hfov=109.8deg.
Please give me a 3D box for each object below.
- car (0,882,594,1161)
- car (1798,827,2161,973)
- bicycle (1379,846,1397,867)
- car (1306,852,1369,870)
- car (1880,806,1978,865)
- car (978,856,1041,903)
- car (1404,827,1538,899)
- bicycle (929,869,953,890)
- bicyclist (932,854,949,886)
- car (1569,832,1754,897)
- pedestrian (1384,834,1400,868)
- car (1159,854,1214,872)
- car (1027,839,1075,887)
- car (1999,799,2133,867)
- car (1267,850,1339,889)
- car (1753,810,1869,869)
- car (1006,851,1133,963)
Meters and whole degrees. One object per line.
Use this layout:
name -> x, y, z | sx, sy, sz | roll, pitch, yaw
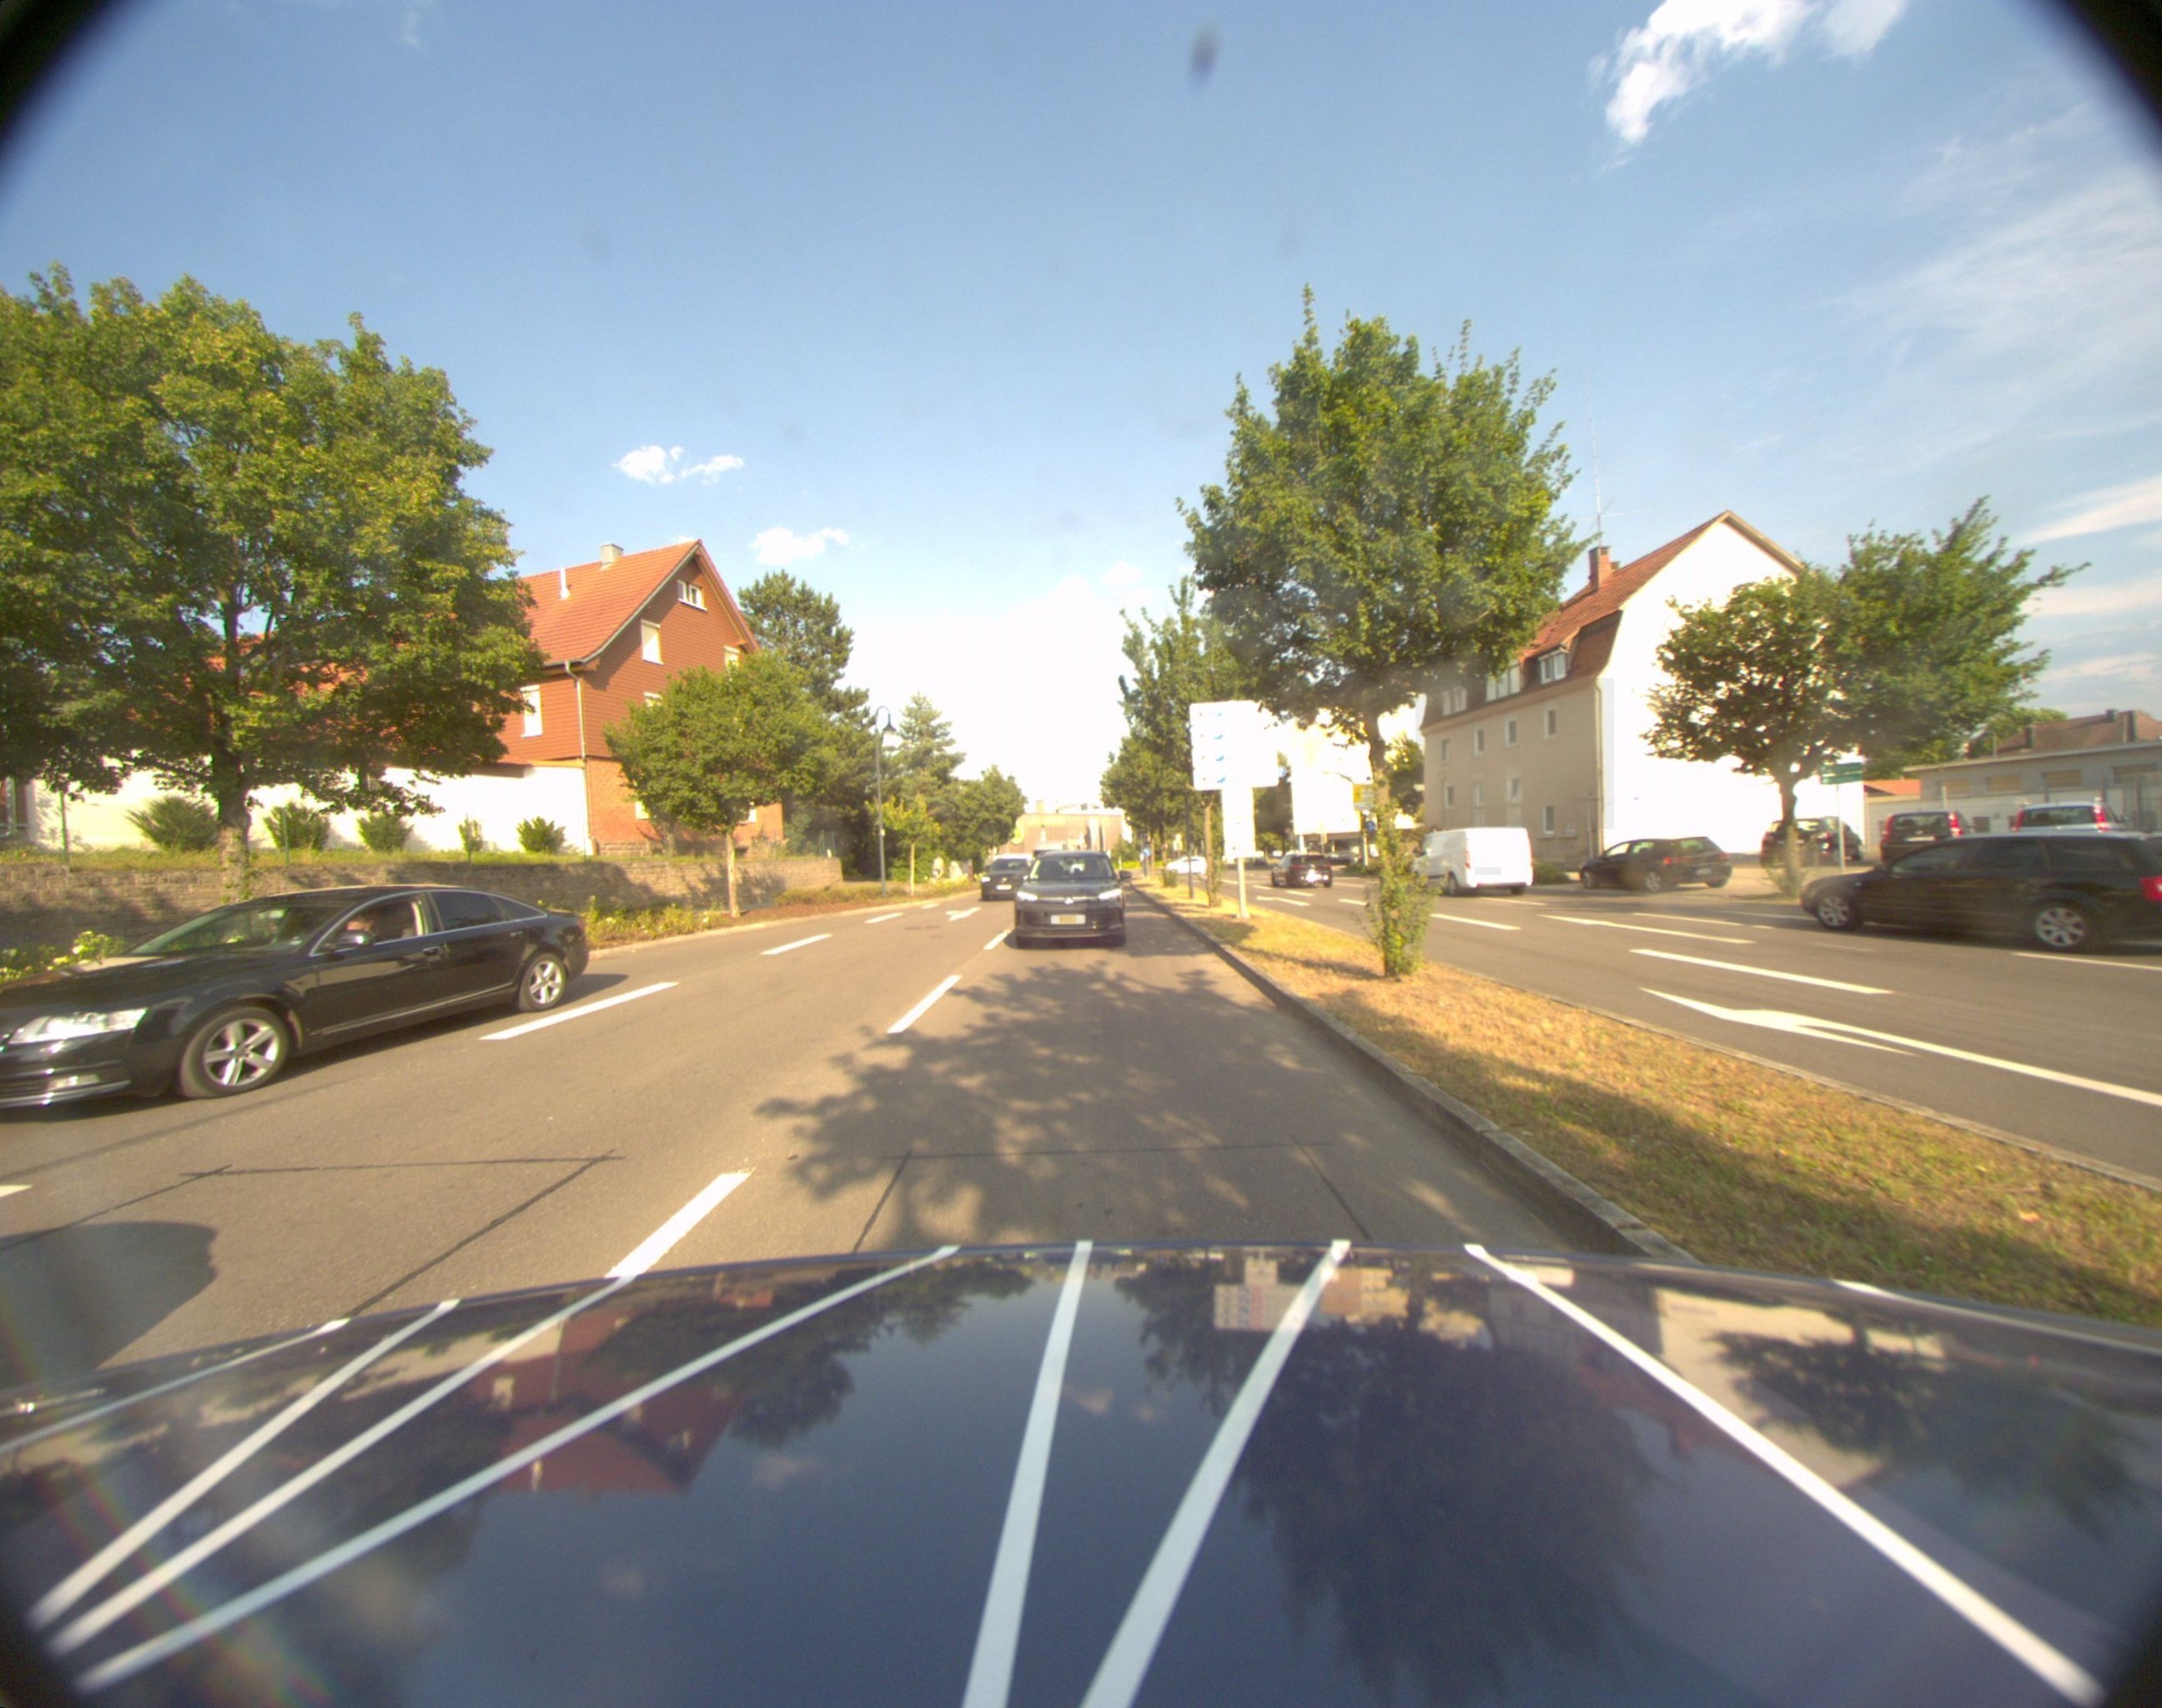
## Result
car -> -6.760, 1.095, 6.779 | 1.685, 1.427, 4.589 | -2, 0, 2
car -> 12.190, 0.447, 9.846 | 1.811, 1.488, 4.245 | -2, 0, 1
bicycle -> 18.530, 0.171, 45.862 | 0.680, 1.215, 1.515 | -2, 1, 9
car -> 21.296, 0.581, 63.196 | 4.660, 1.346, 1.768 | -2, 1, 9
car -> 24.516, -0.548, 21.954 | 4.007, 1.543, 1.763 | -3, 1, -41
car -> -2.655, 0.918, 29.209 | 1.886, 1.599, 4.127 | -2, 1, 1
car -> 11.704, 0.217, 23.211 | 1.827, 1.912, 4.946 | -2, 1, 5
bicycle -> -7.410, 1.354, 40.264 | 0.522, 1.012, 1.877 | -2, 1, 13
bicyclist -> -7.440, 0.860, 40.269 | 0.603, 1.668, 0.735 | -2, 1, 13
car -> 15.789, 0.241, 21.010 | 1.839, 1.436, 4.194 | -6, 0, 0
pedestrian -> 18.342, -0.179, 44.816 | 0.699, 1.971, 0.589 | -2, 1, 9
car -> 8.838, 0.749, 63.690 | 4.133, 1.346, 1.765 | -2, 1, -13
car -> -1.693, 0.474, 45.154 | 2.370, 2.532, 6.192 | -2, 1, 1
car -> 24.809, -0.550, 19.112 | 4.006, 1.543, 1.763 | -3, 1, -33
car -> 9.212, 0.605, 31.836 | 1.773, 1.442, 4.107 | -2, 0, 0
car -> 23.095, -0.472, 24.014 | 4.006, 1.543, 1.764 | -5, 1, -33
car -> -0.129, 0.802, 14.011 | 1.894, 1.647, 4.729 | -2, 0, 1
